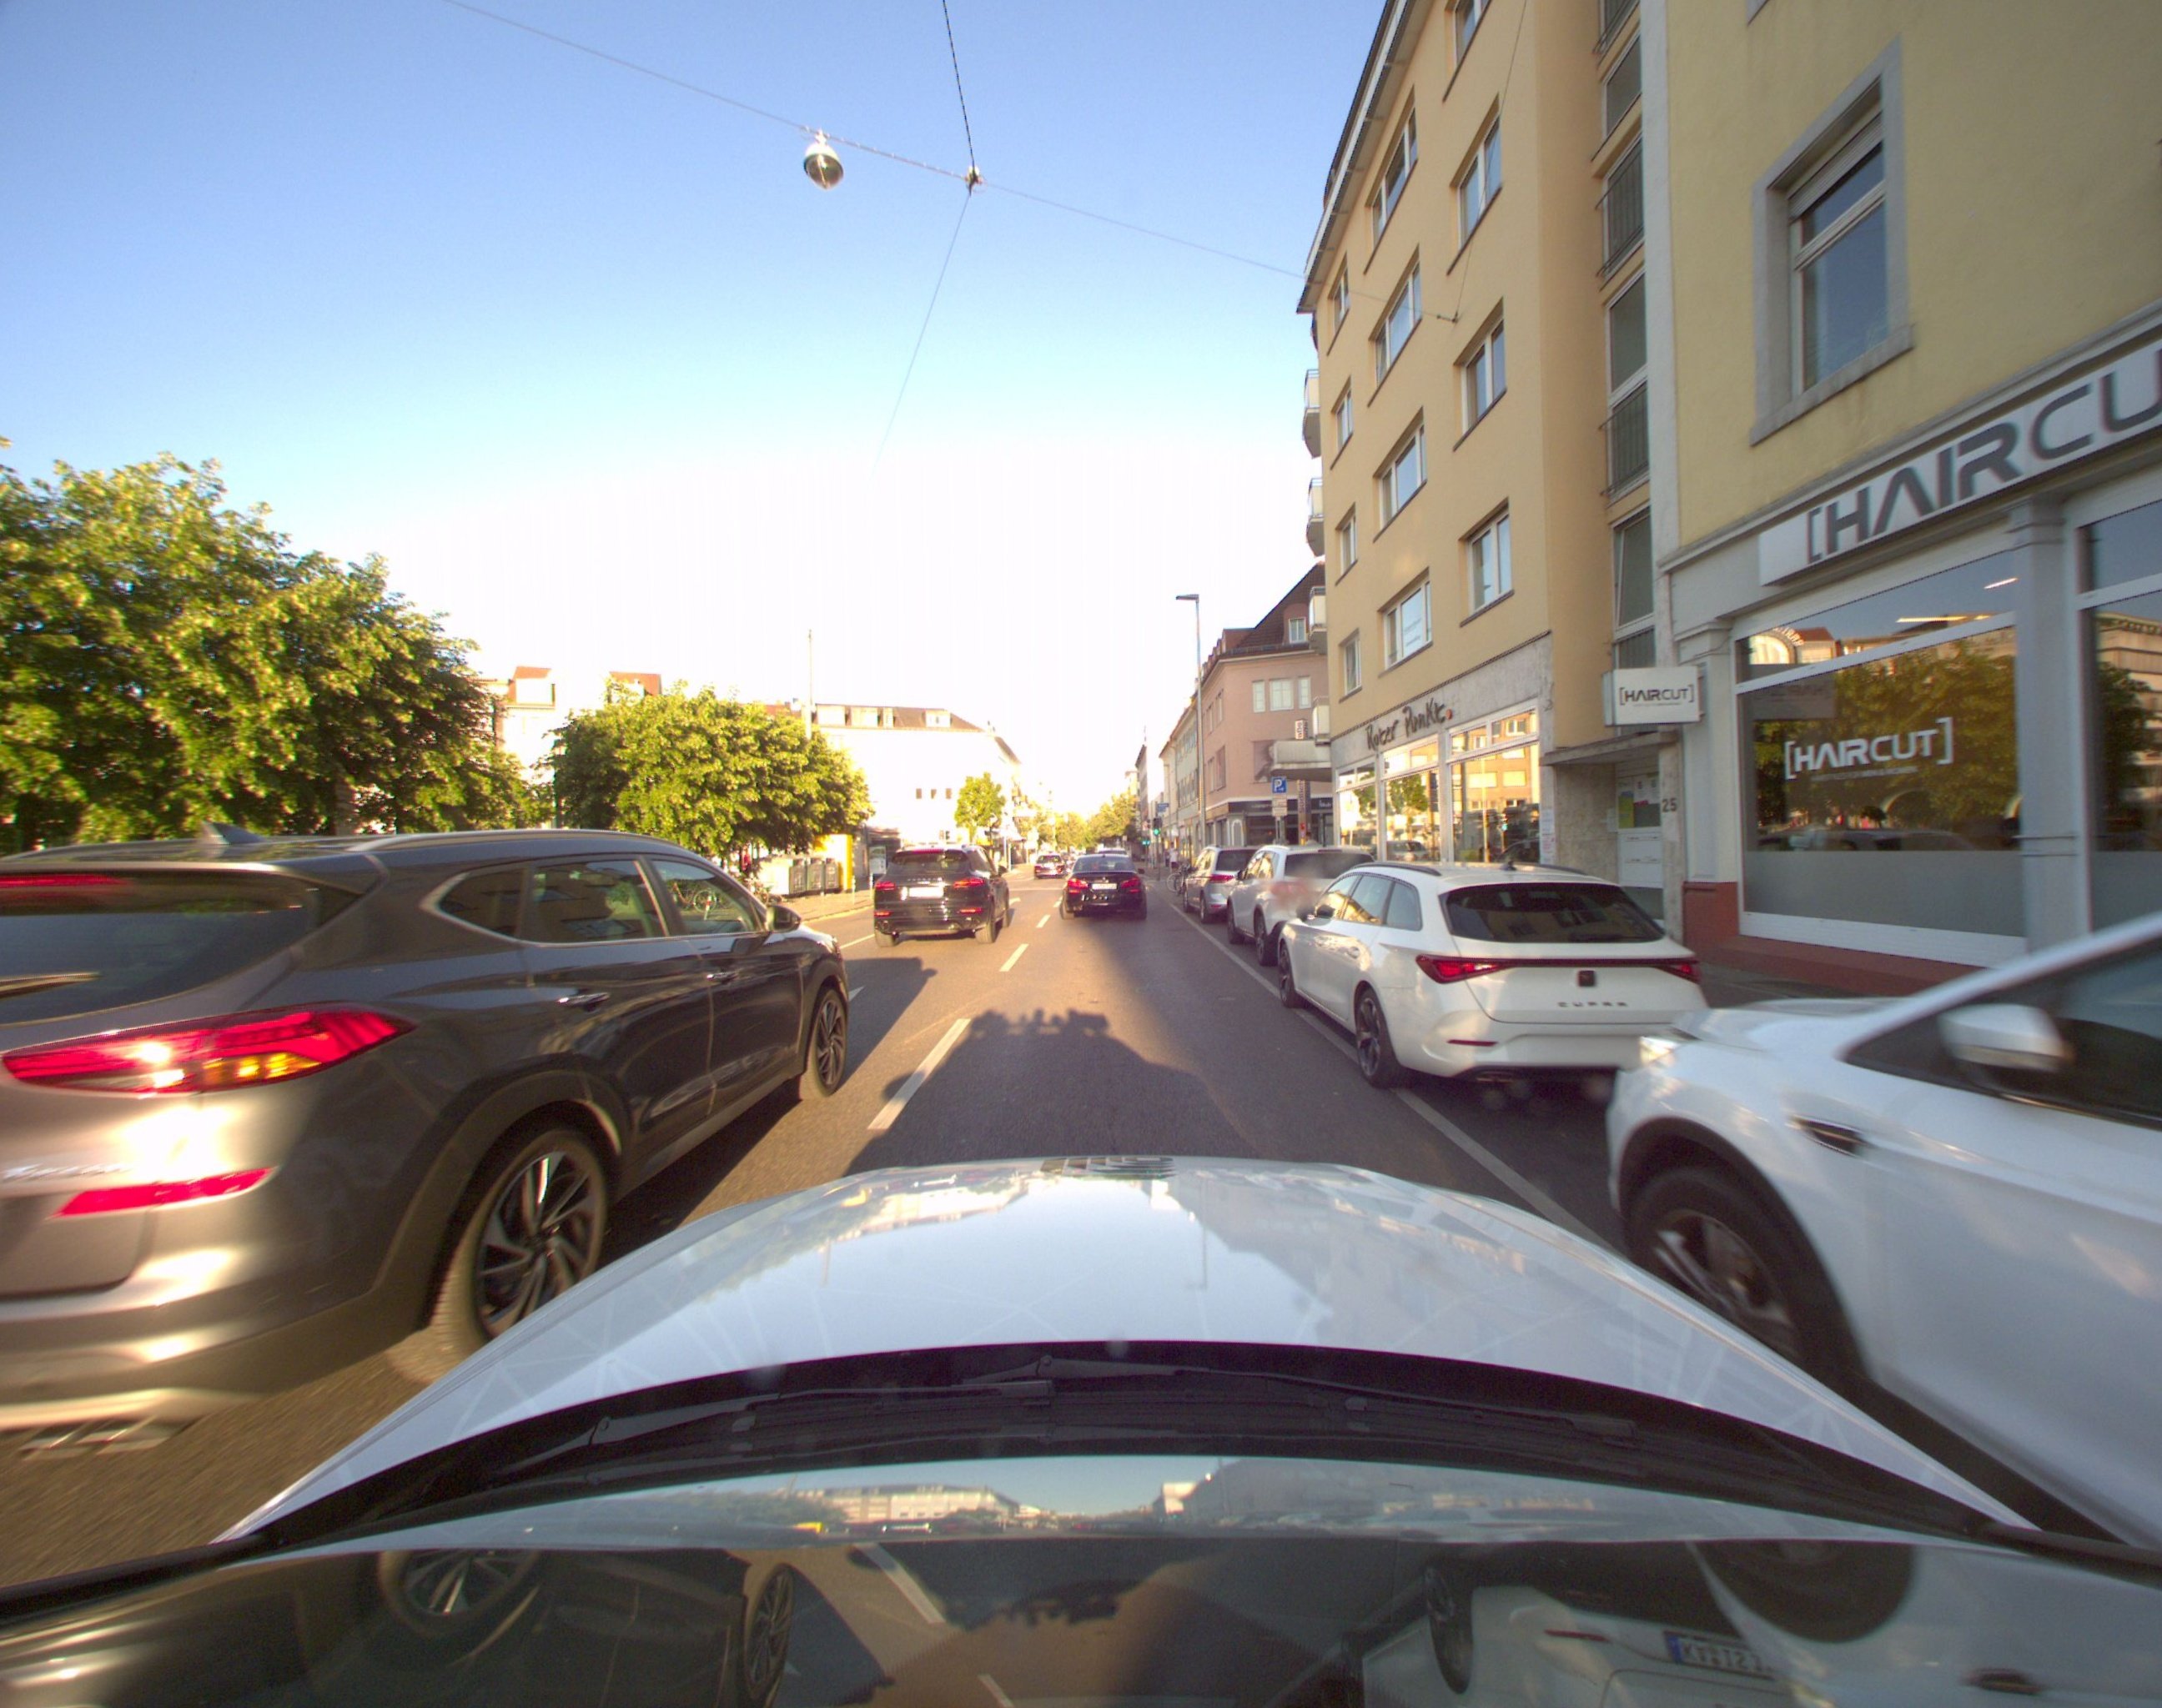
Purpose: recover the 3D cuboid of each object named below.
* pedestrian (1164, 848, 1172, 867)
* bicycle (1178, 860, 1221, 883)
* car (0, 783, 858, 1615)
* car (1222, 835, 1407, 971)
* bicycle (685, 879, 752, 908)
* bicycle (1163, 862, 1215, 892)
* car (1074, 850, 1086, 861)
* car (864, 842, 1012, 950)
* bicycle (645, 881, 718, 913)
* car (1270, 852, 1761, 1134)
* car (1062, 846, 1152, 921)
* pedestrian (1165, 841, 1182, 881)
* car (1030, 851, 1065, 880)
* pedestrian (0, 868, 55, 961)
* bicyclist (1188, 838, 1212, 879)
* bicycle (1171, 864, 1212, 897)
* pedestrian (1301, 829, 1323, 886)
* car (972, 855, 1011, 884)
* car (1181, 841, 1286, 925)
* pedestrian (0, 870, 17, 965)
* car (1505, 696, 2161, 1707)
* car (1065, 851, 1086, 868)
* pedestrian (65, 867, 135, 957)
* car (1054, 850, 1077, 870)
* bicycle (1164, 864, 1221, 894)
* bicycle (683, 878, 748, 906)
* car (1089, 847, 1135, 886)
[{"bbox_3d":[7.092,0.309,66.571,0.630,1.534,0.702,-1,0,4],"label":"pedestrian"},{"bbox_3d":[5.147,0.752,35.396,1.749,0.967,0.493,-1,0,28],"label":"bicycle"},{"bbox_3d":[-2.562,0.696,3.677,1.890,1.649,4.104,-1,0,1],"label":"car"},{"bbox_3d":[3.196,0.610,11.905,1.723,1.652,3.830,0,0,2],"label":"car"},{"bbox_3d":[-11.227,1.230,25.270,1.821,0.853,0.483,1,0,-3],"label":"bicycle"},{"bbox_3d":[3.708,0.793,28.059,1.757,0.967,0.491,-1,0,6],"label":"bicycle"},{"bbox_3d":[-0.117,0.235,123.162,1.773,1.547,4.000,-1,0,0],"label":"car"},{"bbox_3d":[-2.406,0.647,14.783,1.890,1.649,4.104,-1,0,1],"label":"car"},{"bbox_3d":[-11.489,1.234,23.469,1.821,0.853,0.483,1,0,-3],"label":"bicycle"},{"bbox_3d":[2.759,0.731,6.399,1.723,1.450,4.315,0,0,2],"label":"car"},{"bbox_3d":[0.571,0.609,19.160,1.890,1.581,4.000,0,0,1],"label":"car"},{"bbox_3d":[4.273,0.314,37.666,0.698,1.812,0.634,-1,0,-3],"label":"pedestrian"},{"bbox_3d":[-1.880,0.618,46.819,1.773,1.547,4.000,-1,0,0],"label":"car"},{"bbox_3d":[-19.063,1.065,14.622,0.783,1.595,0.571,-1,0,20],"label":"pedestrian"},{"bbox_3d":[5.170,0.197,35.382,0.823,1.777,0.612,-1,0,28],"label":"bicyclist"},{"bbox_3d":[3.404,0.803,25.179,0.490,0.967,1.760,-1,0,-20],"label":"bicycle"},{"bbox_3d":[7.561,0.113,26.669,0.506,1.812,0.572,-1,0,-2],"label":"pedestrian"},{"bbox_3d":[-5.165,0.869,47.655,1.773,1.547,4.000,-1,0,0],"label":"car"},{"bbox_3d":[3.263,0.581,18.127,1.723,1.652,3.972,0,0,2],"label":"car"},{"bbox_3d":[-18.621,1.076,13.745,0.783,1.595,0.571,-1,0,20],"label":"pedestrian"},{"bbox_3d":[2.366,0.607,0.859,1.723,1.651,4.286,0,0,2],"label":"car"},{"bbox_3d":[-0.482,0.490,75.168,1.773,1.547,4.000,-1,0,0],"label":"car"},{"bbox_3d":[-18.003,1.042,14.943,0.783,1.595,0.571,-1,0,20],"label":"pedestrian"},{"bbox_3d":[-1.262,0.475,67.103,1.773,1.547,4.000,-1,0,0],"label":"car"},{"bbox_3d":[3.614,0.810,26.515,1.749,0.967,0.493,-1,0,26],"label":"bicycle"},{"bbox_3d":[-11.748,1.217,26.187,1.821,0.853,0.483,1,0,-3],"label":"bicycle"},{"bbox_3d":[1.280,0.491,35.185,1.890,1.581,4.000,0,0,1],"label":"car"}]
